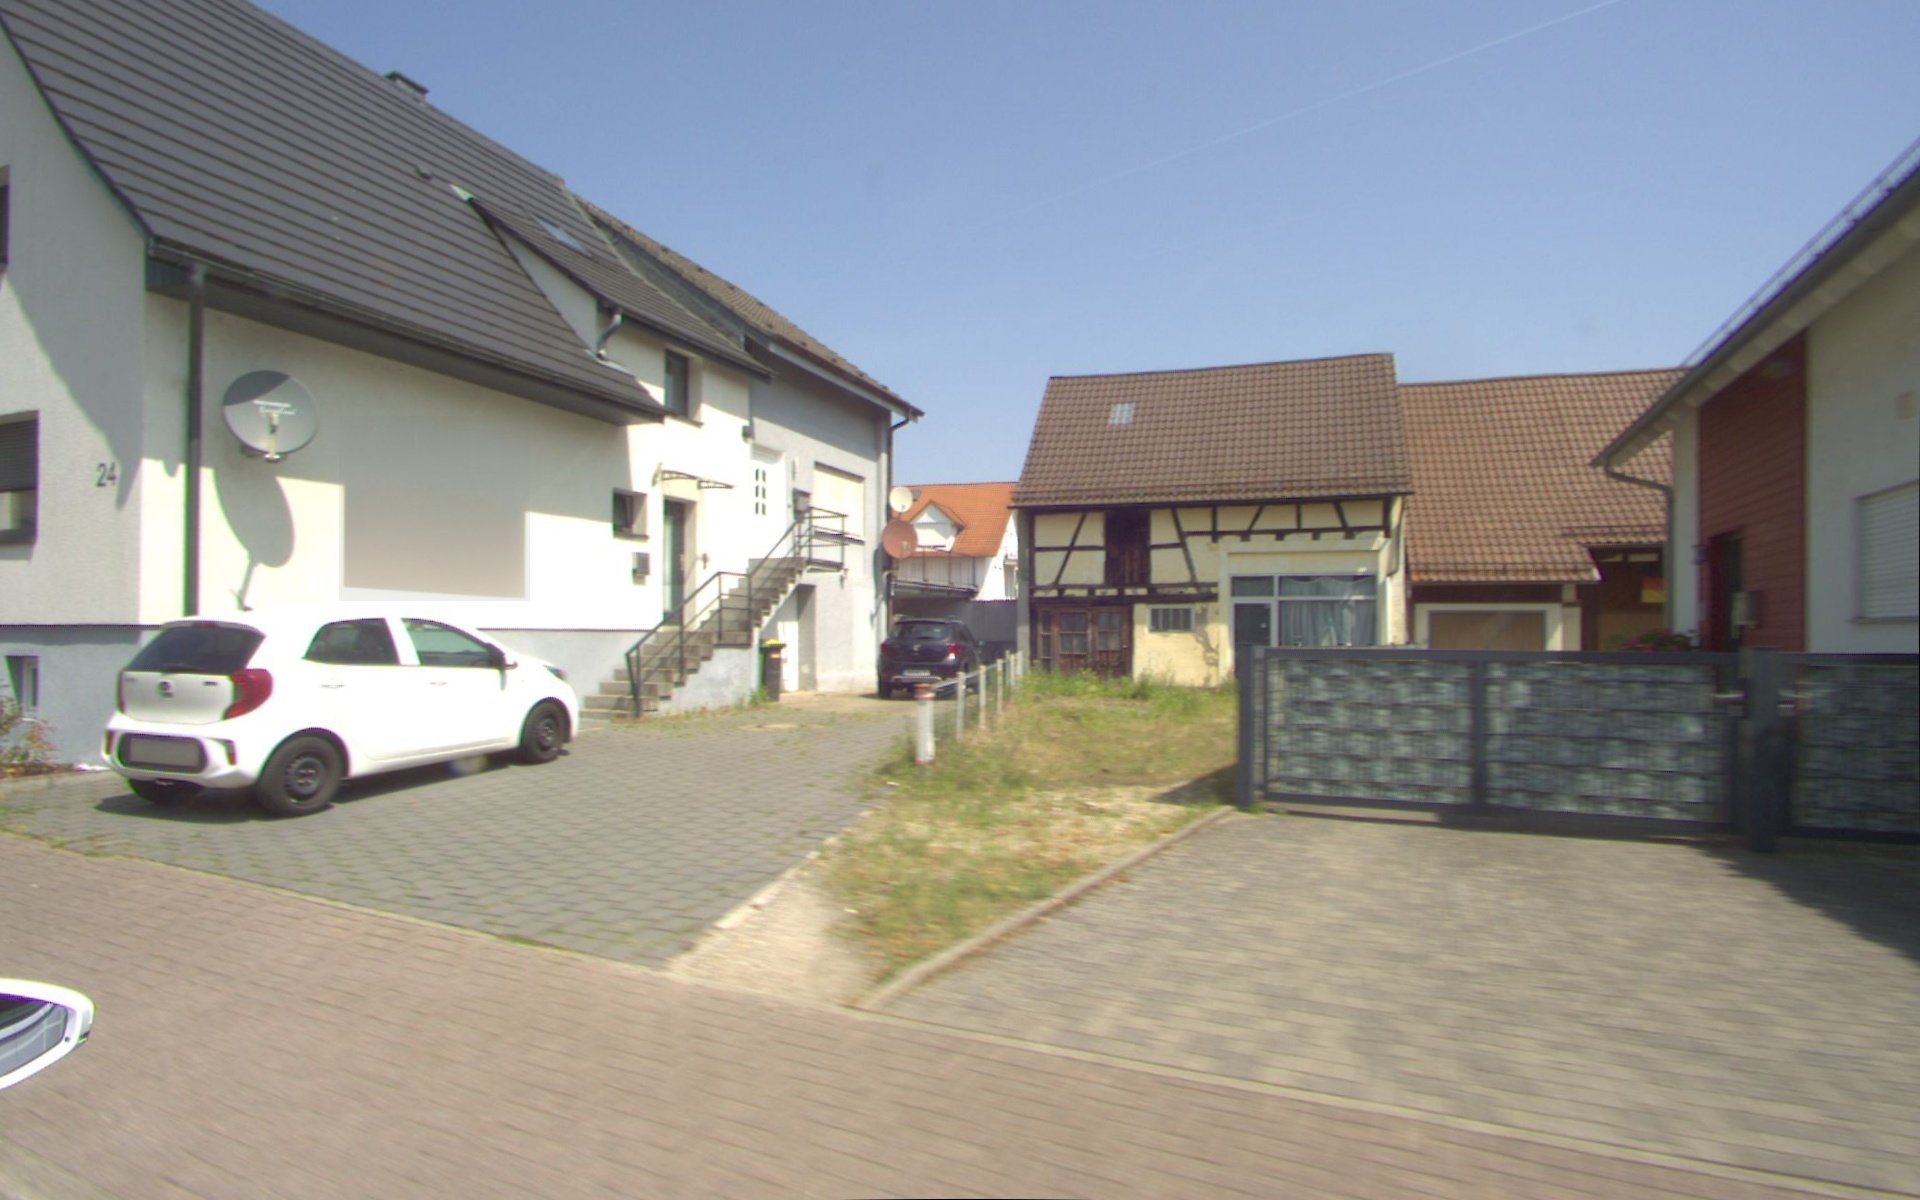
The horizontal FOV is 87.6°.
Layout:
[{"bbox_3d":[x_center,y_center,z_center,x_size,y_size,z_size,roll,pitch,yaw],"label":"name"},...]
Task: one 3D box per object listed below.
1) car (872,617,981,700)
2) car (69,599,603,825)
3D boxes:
[{"bbox_3d":[-0.584,1.164,20.321,1.685,1.510,3.577,0,-3,7],"label":"car"},{"bbox_3d":[-5.045,0.757,8.702,1.734,1.494,3.661,1,0,20],"label":"car"}]
